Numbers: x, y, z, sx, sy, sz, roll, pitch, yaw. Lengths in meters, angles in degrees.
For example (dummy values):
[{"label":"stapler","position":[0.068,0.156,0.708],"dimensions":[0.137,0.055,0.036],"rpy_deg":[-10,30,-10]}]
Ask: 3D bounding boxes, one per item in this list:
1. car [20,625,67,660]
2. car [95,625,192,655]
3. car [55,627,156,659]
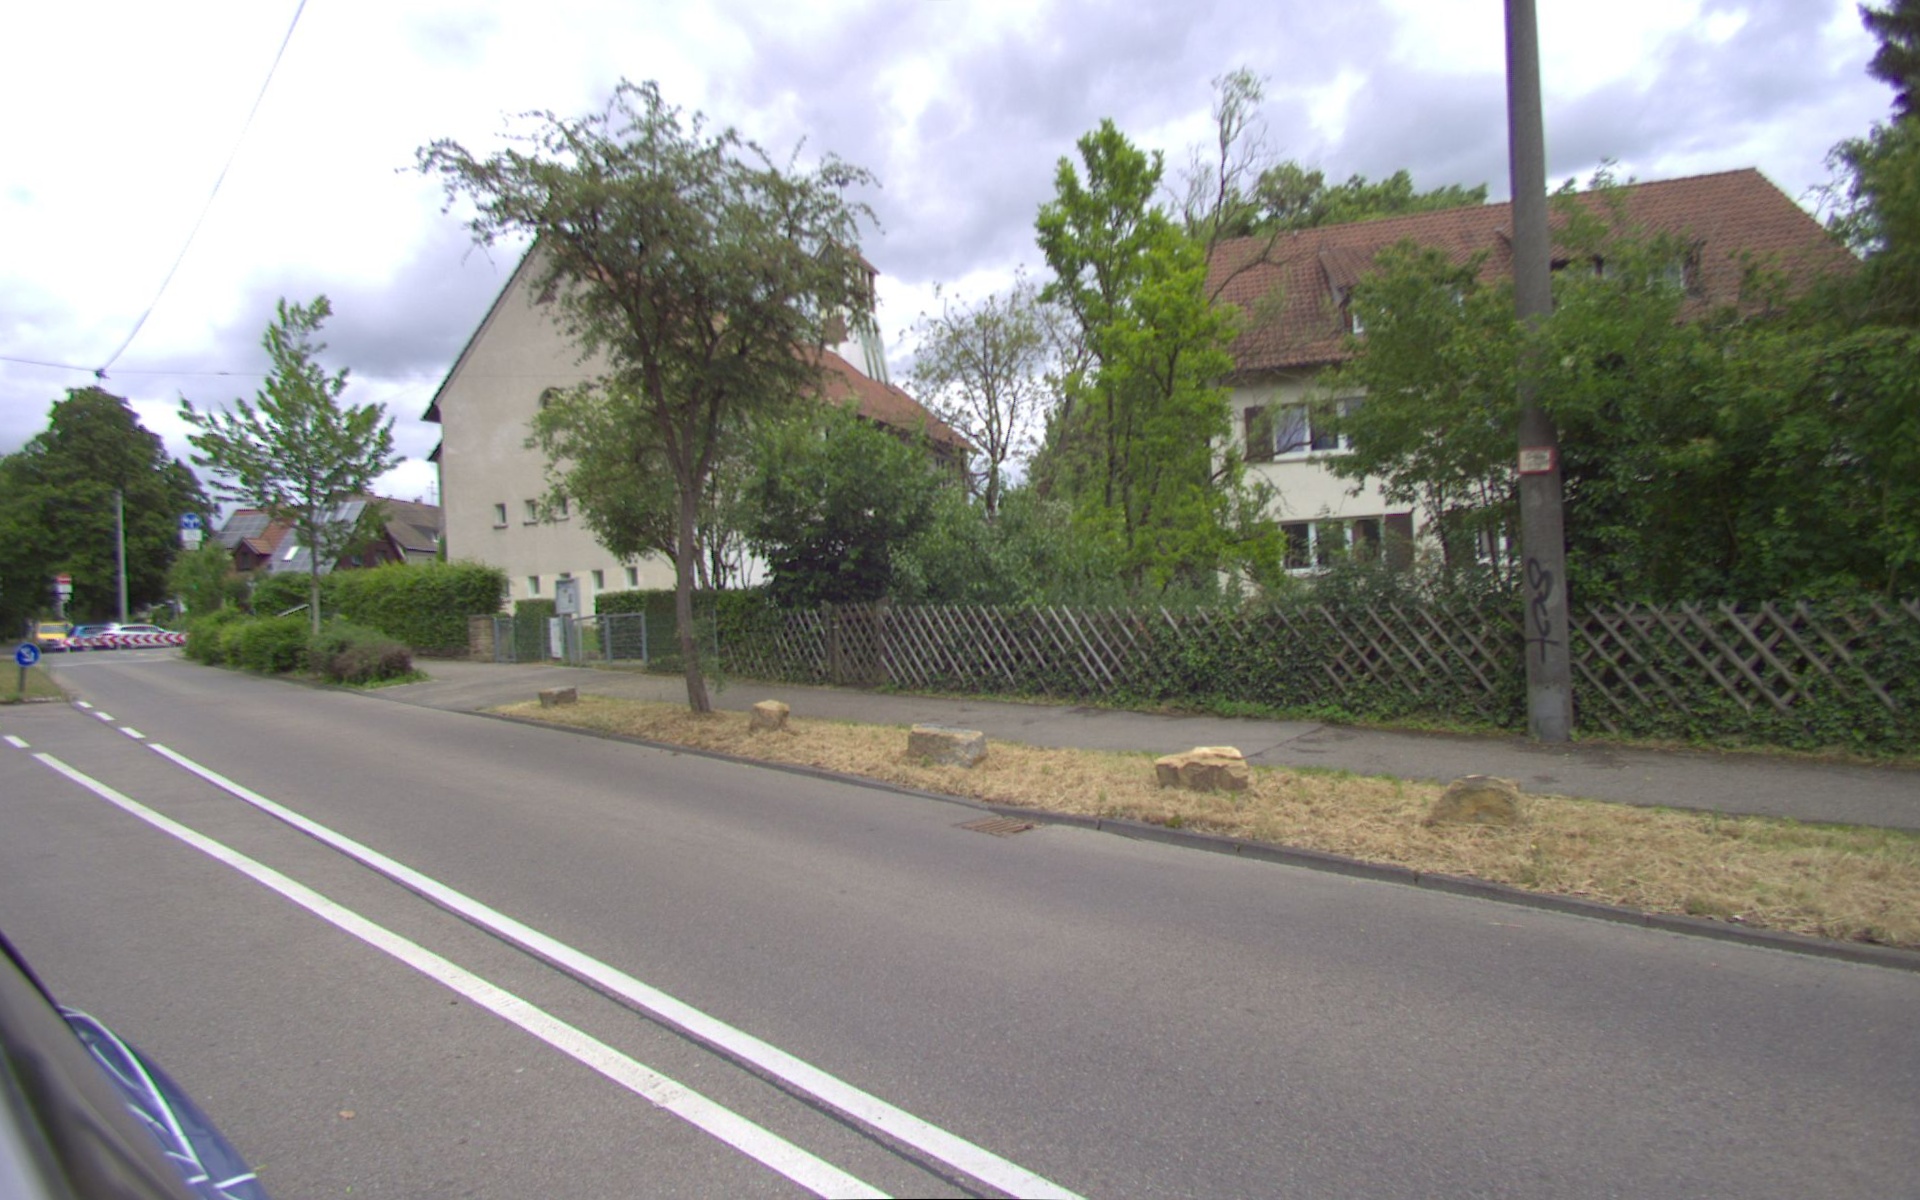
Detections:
[{"label":"car","position":[-55.708,2.566,61.517],"dimensions":[1.894,2.004,4.803],"rpy_deg":[-1,-1,-45]},{"label":"car","position":[-45.995,2.249,57.056],"dimensions":[1.840,1.483,3.861],"rpy_deg":[-4,-1,33]},{"label":"car","position":[-48.571,2.408,57.584],"dimensions":[1.844,1.558,4.122],"rpy_deg":[-4,-2,40]}]
